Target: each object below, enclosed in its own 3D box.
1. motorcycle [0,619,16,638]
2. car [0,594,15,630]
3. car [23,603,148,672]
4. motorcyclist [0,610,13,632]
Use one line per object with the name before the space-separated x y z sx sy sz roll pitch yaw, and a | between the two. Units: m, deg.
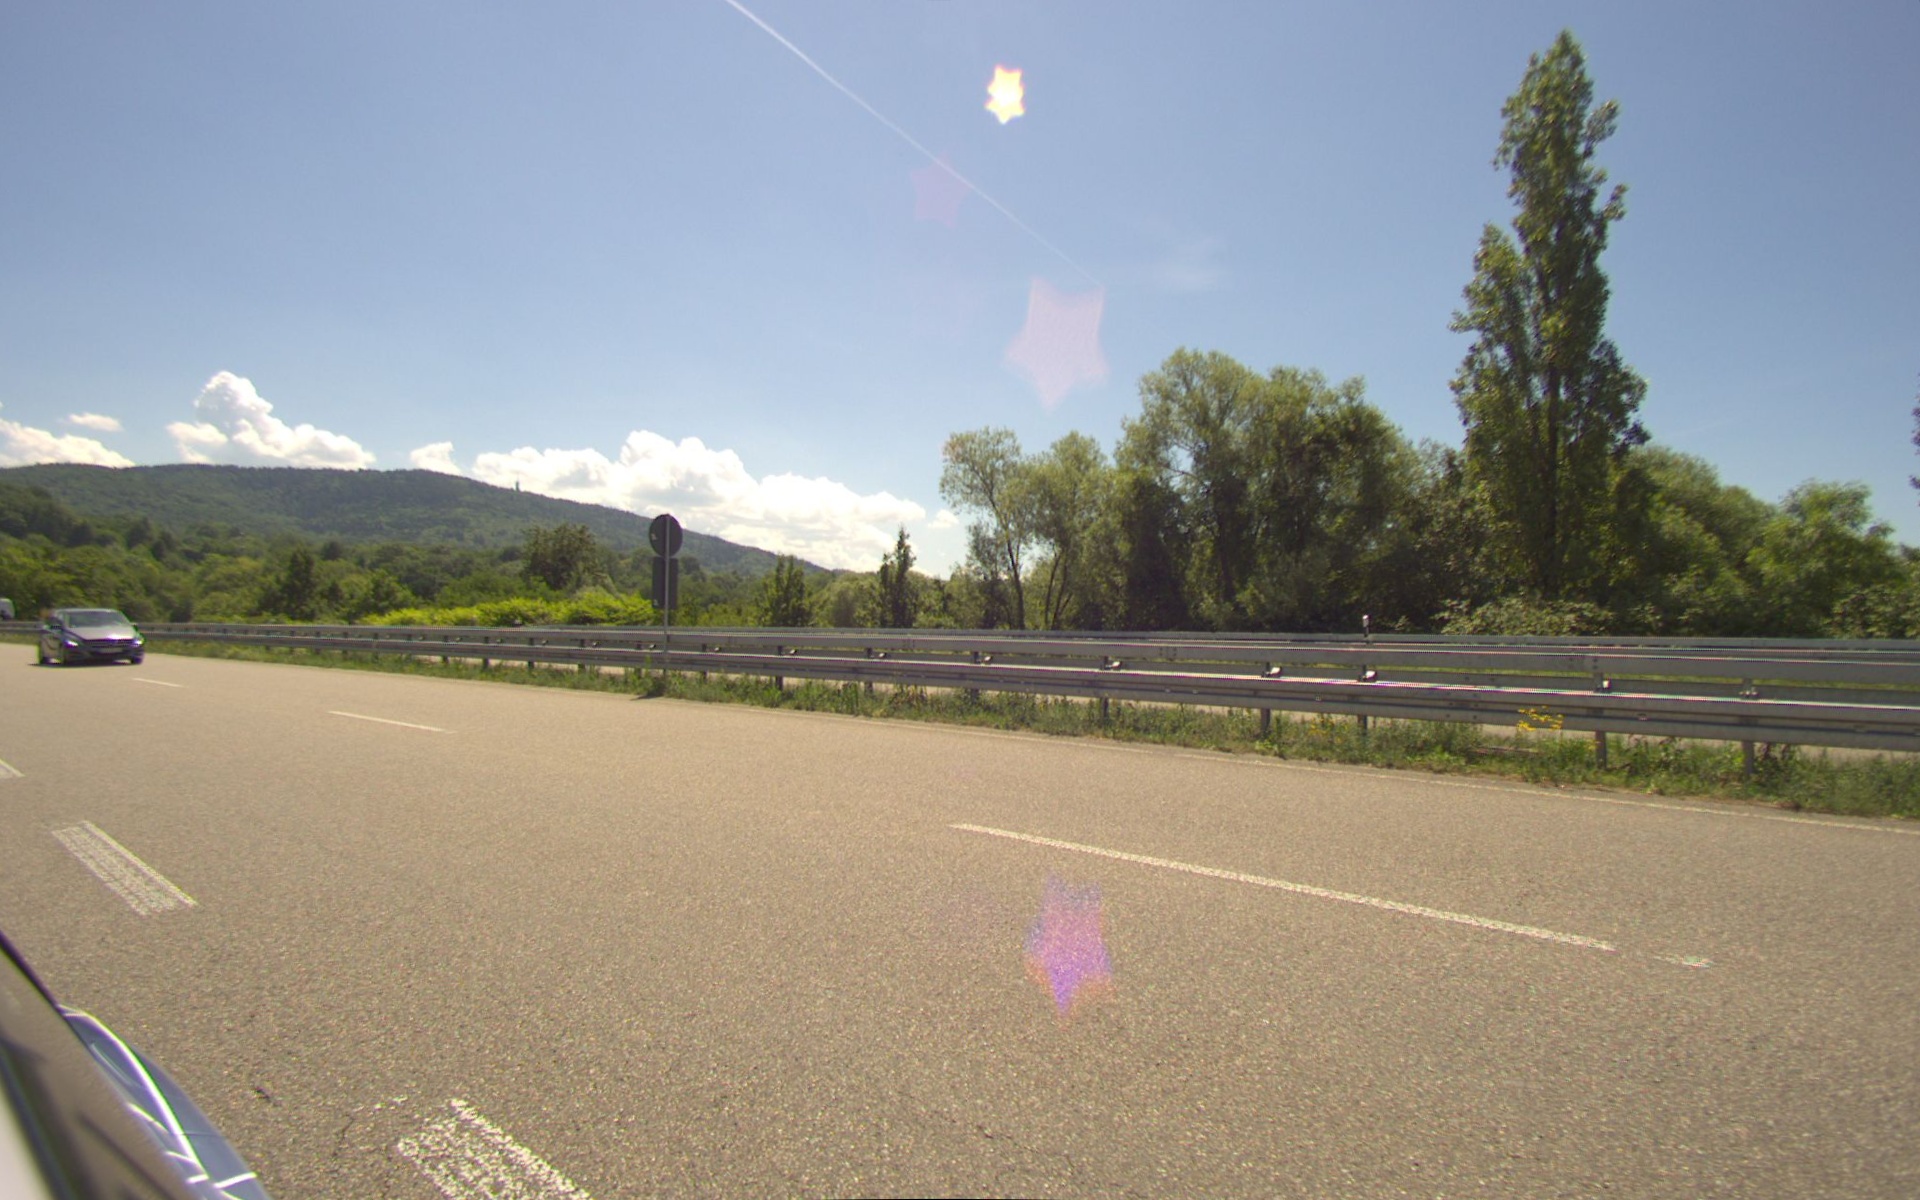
motorcycle | -61.593 1.805 65.169 2.526 1.152 0.783 1 -1 38
car | -77.009 0.889 79.643 7.203 2.794 2.260 1 -1 34
car | -24.782 0.989 28.625 4.547 1.680 1.776 1 2 37
motorcyclist | -61.582 1.353 65.167 0.766 1.444 0.783 1 -1 38
